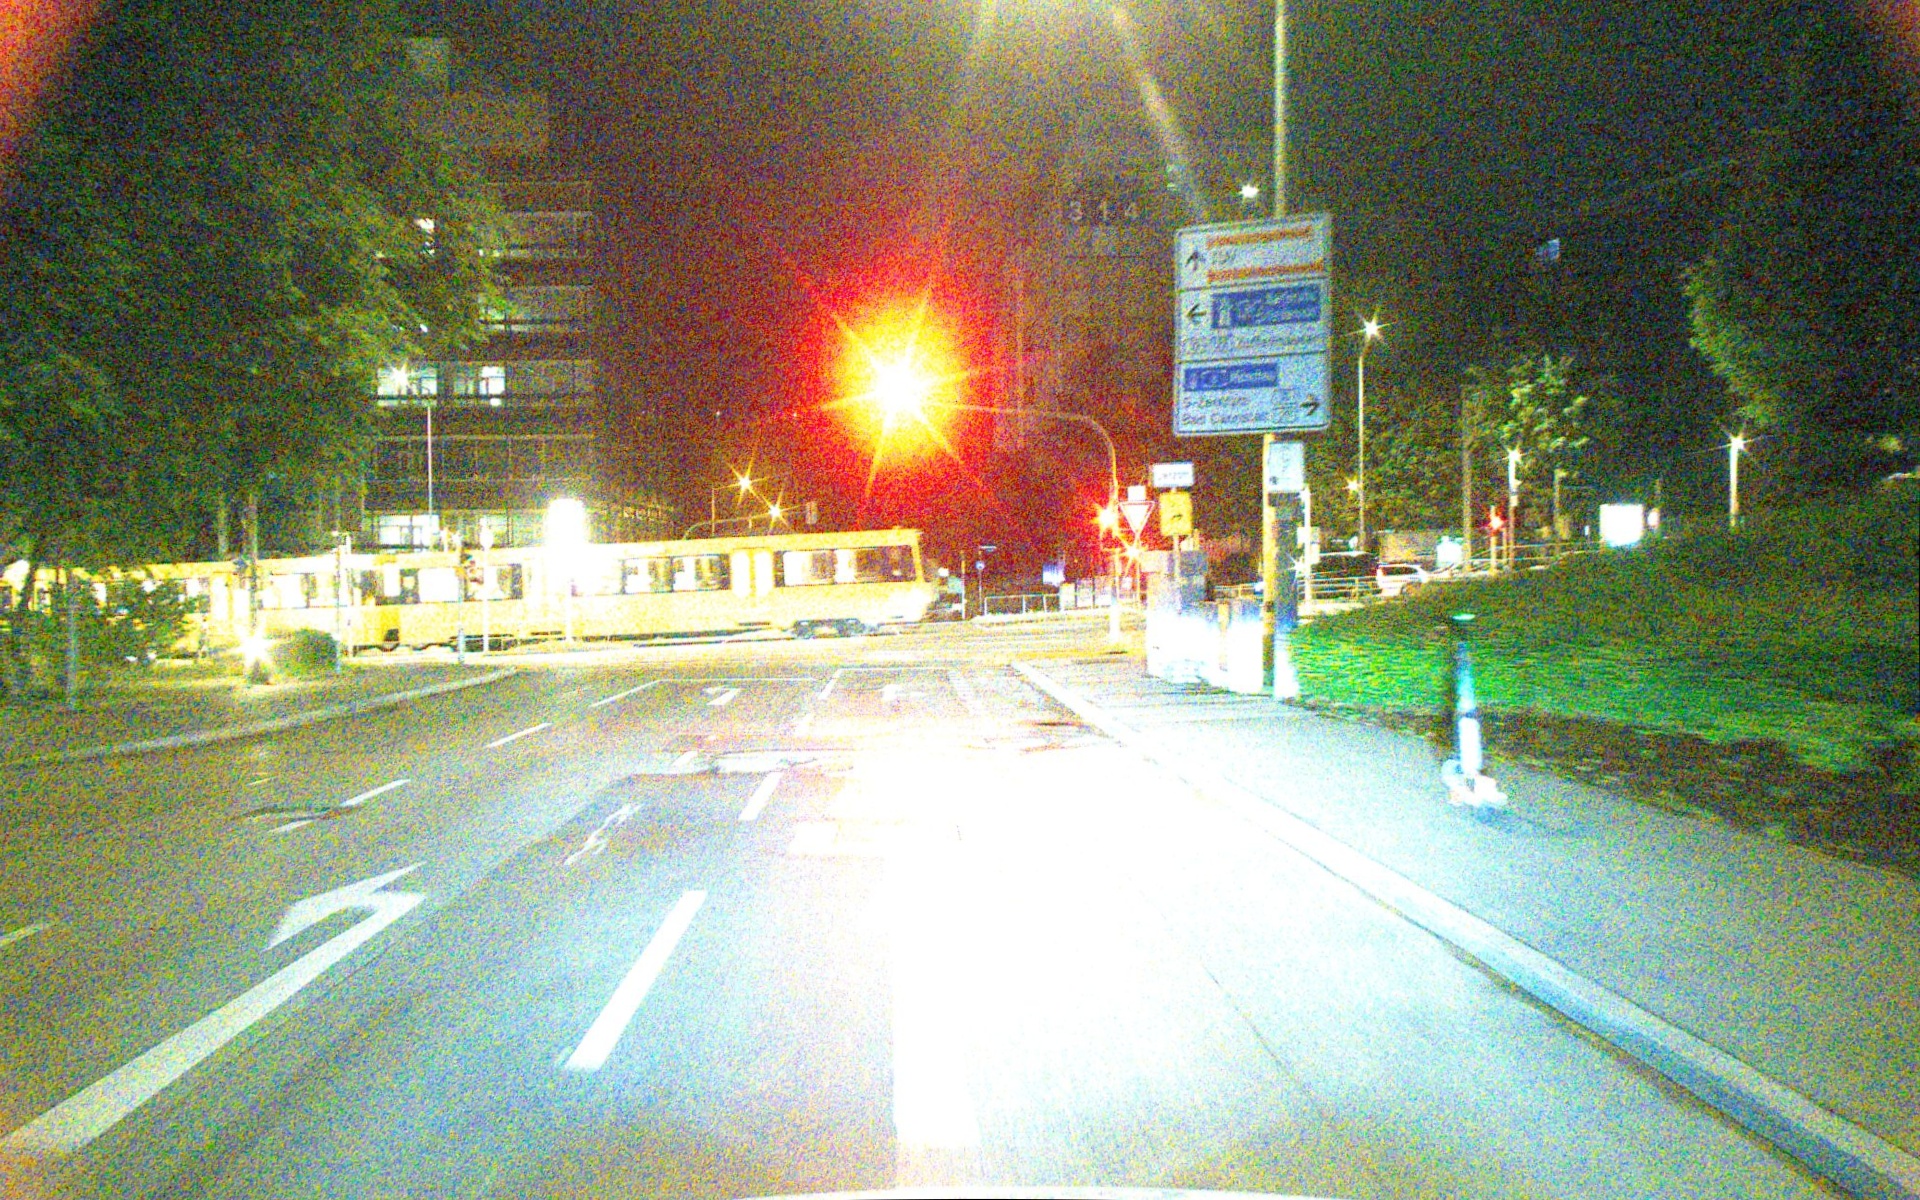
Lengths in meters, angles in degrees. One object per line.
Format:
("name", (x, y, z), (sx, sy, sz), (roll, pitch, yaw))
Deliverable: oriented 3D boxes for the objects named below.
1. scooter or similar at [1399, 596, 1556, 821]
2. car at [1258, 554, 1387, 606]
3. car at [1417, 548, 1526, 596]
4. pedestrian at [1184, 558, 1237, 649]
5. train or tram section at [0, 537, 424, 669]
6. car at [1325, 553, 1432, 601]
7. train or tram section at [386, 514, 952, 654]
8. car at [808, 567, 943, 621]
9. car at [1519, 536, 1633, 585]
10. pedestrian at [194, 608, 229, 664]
("scooter or similar", (3.207, 0.634, 10.352), (0.484, 1.283, 1.319), (-3, 0, -1))
("car", (13.979, -0.766, 63.903), (4.517, 1.668, 2.001), (-4, 0, 3))
("car", (19.866, -1.090, 64.356), (3.686, 1.553, 1.760), (-4, 0, 6))
("pedestrian", (4.961, 0.074, 32.851), (0.881, 1.742, 0.775), (-3, -1, 3))
("train or tram section", (-28.828, 0.222, 57.681), (19.379, 3.929, 2.942), (-2, 0, 3))
("car", (17.111, -0.945, 67.771), (3.973, 1.643, 1.870), (-4, 0, 6))
("train or tram section", (-9.800, -0.519, 56.641), (18.773, 3.890, 2.925), (-2, 0, 3))
("car", (-8.162, -0.609, 159.502), (12.186, 4.792, 4.788), (-2, 0, -17))
("car", (24.963, -1.590, 67.155), (3.903, 1.601, 1.887), (-5, 0, 8))
("pedestrian", (-24.499, 1.179, 54.148), (0.749, 1.767, 0.659), (-3, 1, -2))
